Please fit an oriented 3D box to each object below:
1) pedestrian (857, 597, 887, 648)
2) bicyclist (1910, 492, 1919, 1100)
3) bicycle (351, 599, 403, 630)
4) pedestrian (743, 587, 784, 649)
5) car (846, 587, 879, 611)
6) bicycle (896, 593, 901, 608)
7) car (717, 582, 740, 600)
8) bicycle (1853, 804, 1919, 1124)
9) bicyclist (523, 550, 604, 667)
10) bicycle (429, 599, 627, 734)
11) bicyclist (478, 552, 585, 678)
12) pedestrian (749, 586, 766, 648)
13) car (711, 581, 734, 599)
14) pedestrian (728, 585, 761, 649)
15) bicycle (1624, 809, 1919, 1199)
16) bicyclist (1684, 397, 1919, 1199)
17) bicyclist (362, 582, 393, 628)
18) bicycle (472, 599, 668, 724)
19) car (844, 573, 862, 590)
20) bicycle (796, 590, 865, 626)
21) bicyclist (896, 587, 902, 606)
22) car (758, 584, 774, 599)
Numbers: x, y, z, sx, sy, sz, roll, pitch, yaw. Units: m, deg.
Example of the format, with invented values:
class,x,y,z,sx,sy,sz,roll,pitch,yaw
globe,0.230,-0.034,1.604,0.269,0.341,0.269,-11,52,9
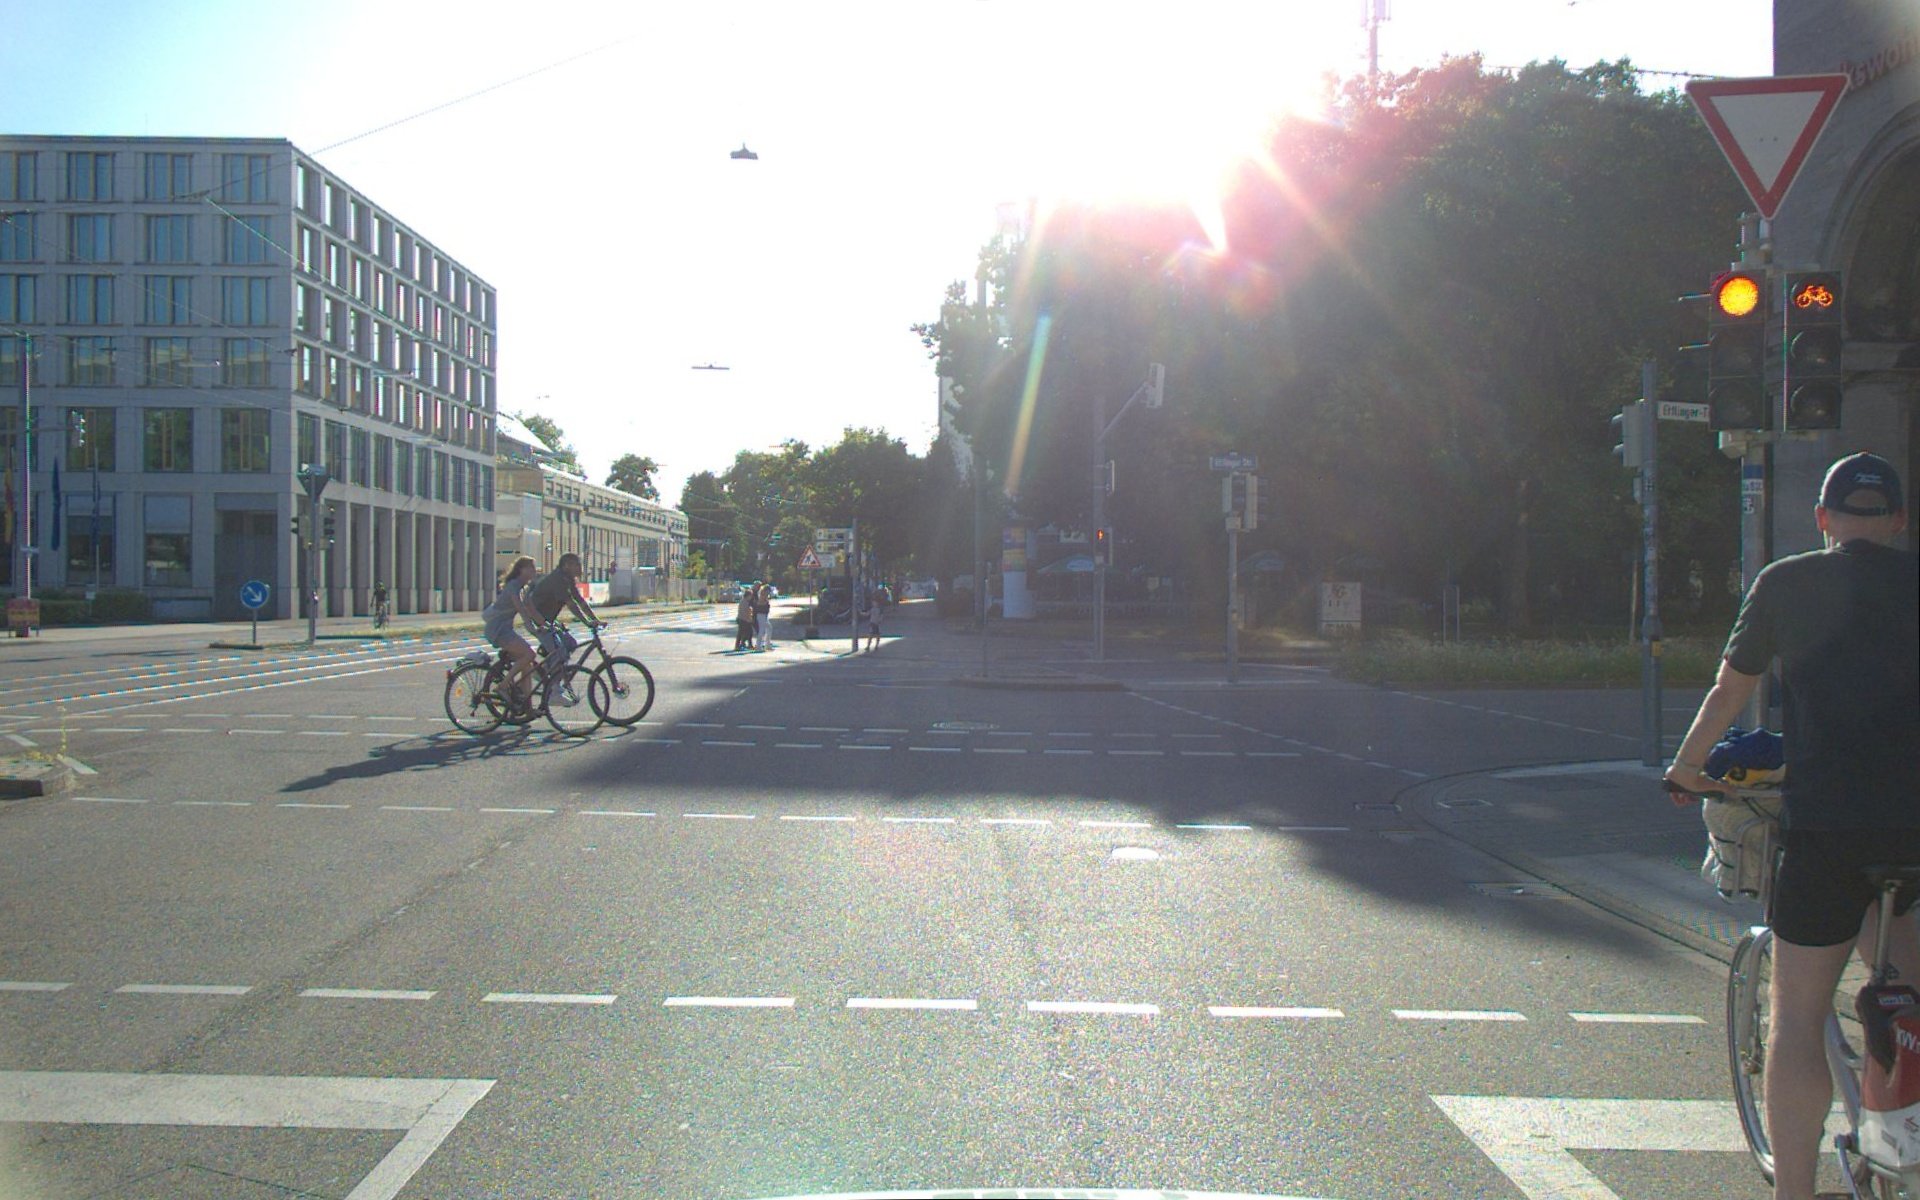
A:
class,x,y,z,sx,sy,sz,roll,pitch,yaw
pedestrian,-2.354,0.600,44.337,0.737,1.356,0.742,0,0,0
bicyclist,2.934,0.552,4.248,0.511,1.709,0.859,0,0,2
bicycle,-21.587,0.523,61.319,0.857,1.140,3.013,0,0,0
pedestrian,-5.131,0.465,43.233,0.964,1.615,0.660,0,-1,1
car,-5.393,-0.065,91.726,1.783,1.301,3.998,0,0,-3
bicycle,-3.659,0.022,98.454,0.317,0.883,1.483,0,0,-1
car,-22.365,-0.895,159.874,1.695,1.682,3.999,0,0,-1
bicycle,3.002,1.094,4.249,0.418,0.891,1.951,0,0,2
bicyclist,-4.306,0.092,18.002,0.706,1.240,0.797,0,0,-2
bicycle,-4.344,0.657,16.739,1.814,1.314,0.791,0,0,-4
bicyclist,-4.328,0.144,16.739,0.906,1.240,0.796,0,0,-4
pedestrian,-5.485,0.457,44.826,0.432,1.692,0.376,0,0,-2
car,-22.343,-0.937,155.615,1.695,1.682,3.999,0,0,-1
pedestrian,-5.689,0.443,43.732,0.779,1.668,0.533,0,0,2
bicycle,2.060,1.093,3.987,0.381,0.921,1.952,0,0,8
bicyclist,2.087,0.432,3.740,0.655,1.707,0.657,0,0,7
bicyclist,-21.579,0.181,61.302,0.857,1.670,0.822,0,0,0
bicycle,-4.220,0.657,17.994,1.945,1.314,0.791,0,0,-3
car,-13.098,-2.224,203.113,1.953,2.049,3.999,0,0,-1
bicycle,-5.234,0.328,67.064,2.688,1.391,0.631,1,-1,10
bicyclist,-3.633,-0.202,98.333,0.312,1.147,0.291,0,0,-1
car,-22.658,-0.998,193.473,1.453,1.780,3.999,0,0,-1
